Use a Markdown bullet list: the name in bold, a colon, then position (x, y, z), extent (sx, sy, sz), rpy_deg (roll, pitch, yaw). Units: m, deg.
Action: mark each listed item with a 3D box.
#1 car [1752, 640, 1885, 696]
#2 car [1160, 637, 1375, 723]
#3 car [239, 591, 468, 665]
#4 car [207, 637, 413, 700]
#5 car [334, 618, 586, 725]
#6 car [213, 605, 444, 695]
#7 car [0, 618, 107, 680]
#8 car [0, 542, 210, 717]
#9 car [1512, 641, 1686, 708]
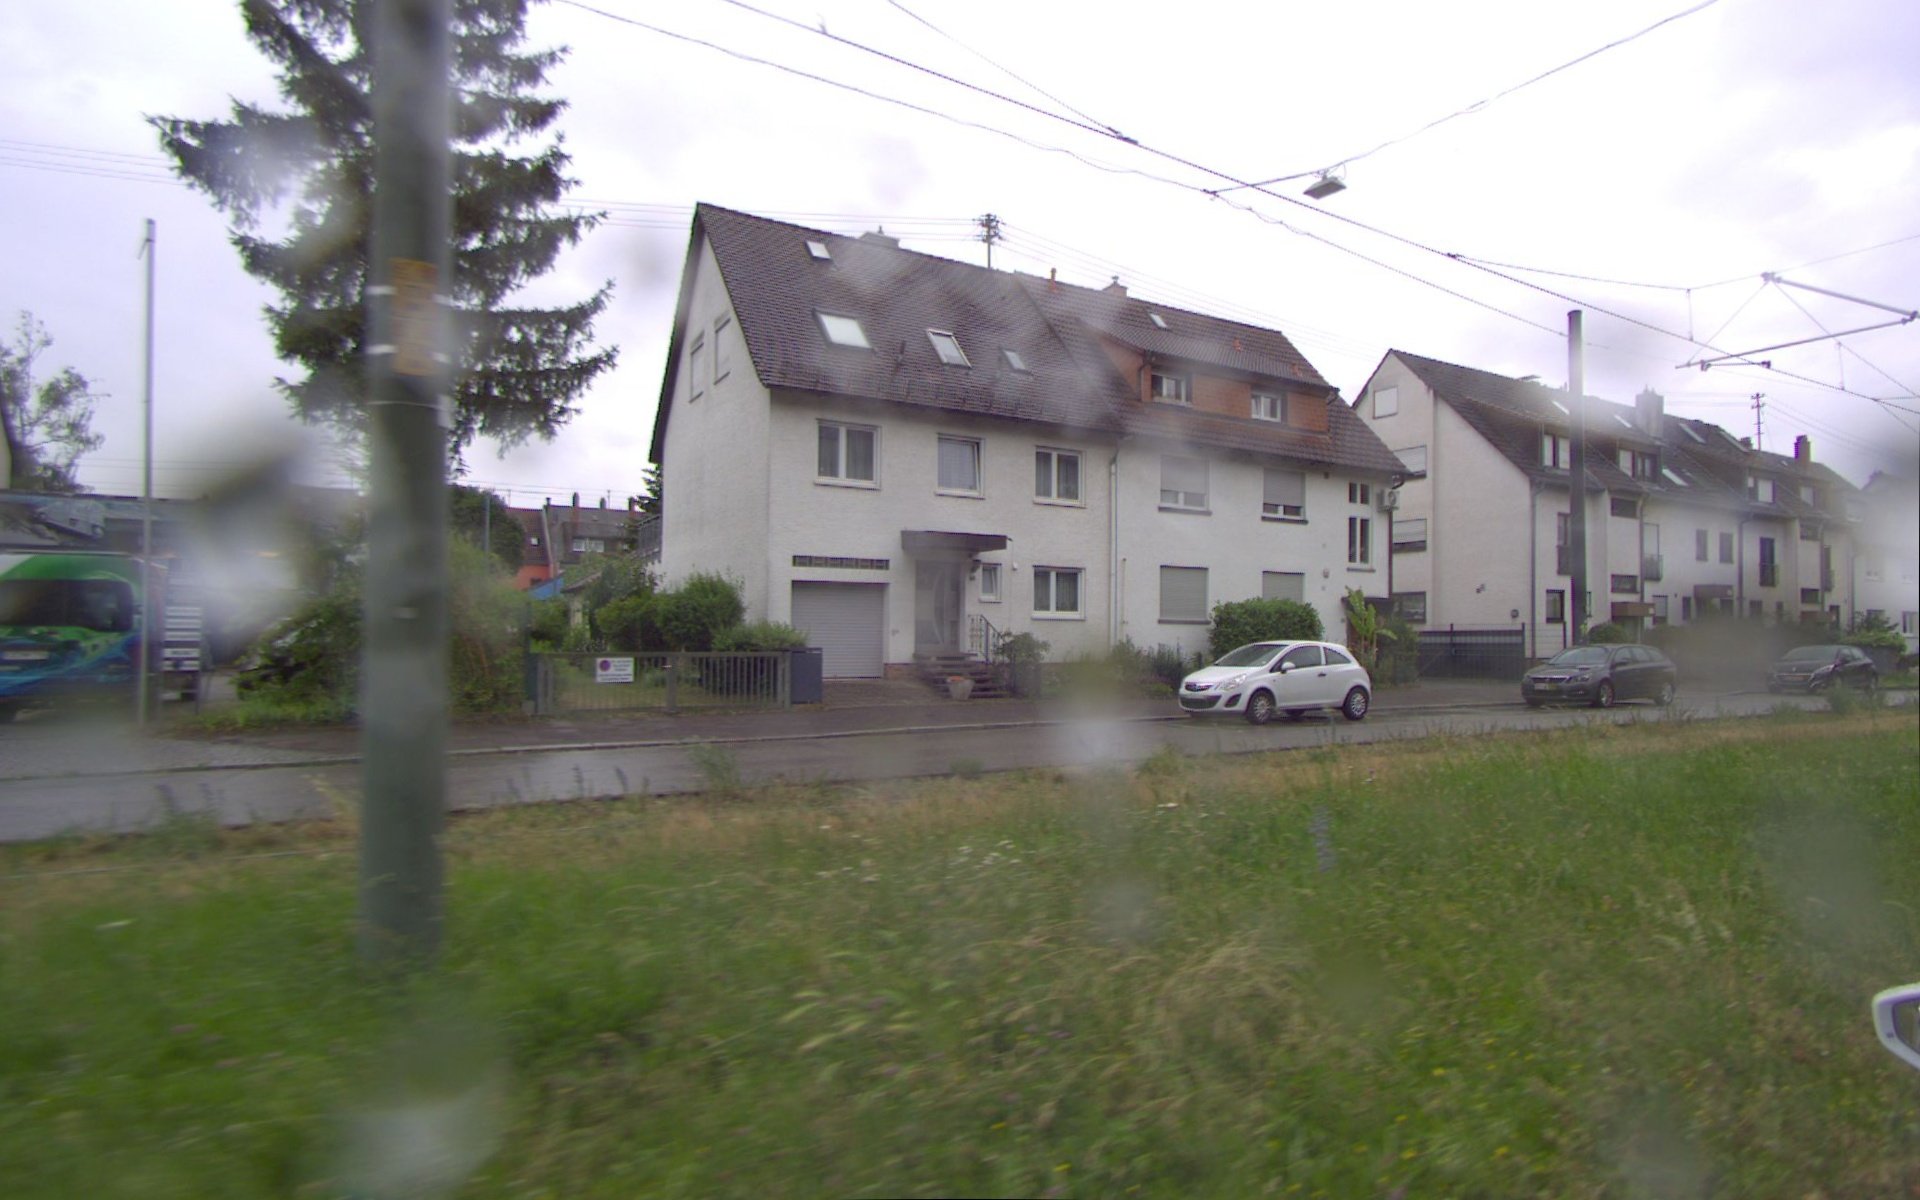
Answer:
- **car**: position (26.138, 2.065, 30.564), extent (4.086, 1.523, 1.868), rpy_deg (4, -3, -30)
- **car**: position (5.764, 1.502, 18.741), extent (3.898, 1.442, 1.593), rpy_deg (4, -3, -30)
- **car**: position (-14.534, 0.715, 24.278), extent (1.836, 1.601, 4.381), rpy_deg (-2, -3, 38)
- **car**: position (-17.769, 1.824, 27.642), extent (1.766, 1.601, 4.429), rpy_deg (-2, -3, 38)
- **car**: position (-8.977, 1.196, 18.158), extent (3.849, 1.586, 1.984), rpy_deg (-2, 0, -31)
- **car**: position (-12.972, 0.972, 20.898), extent (3.849, 1.586, 1.984), rpy_deg (-2, 0, -31)
- **car**: position (-22.282, 1.153, 24.403), extent (1.741, 1.349, 3.965), rpy_deg (4, -3, -32)
- **car**: position (-14.173, 0.511, 16.559), extent (2.127, 2.437, 5.109), rpy_deg (4, -3, -30)
- **car**: position (15.469, 1.804, 24.245), extent (4.612, 1.442, 1.593), rpy_deg (4, -3, -30)
